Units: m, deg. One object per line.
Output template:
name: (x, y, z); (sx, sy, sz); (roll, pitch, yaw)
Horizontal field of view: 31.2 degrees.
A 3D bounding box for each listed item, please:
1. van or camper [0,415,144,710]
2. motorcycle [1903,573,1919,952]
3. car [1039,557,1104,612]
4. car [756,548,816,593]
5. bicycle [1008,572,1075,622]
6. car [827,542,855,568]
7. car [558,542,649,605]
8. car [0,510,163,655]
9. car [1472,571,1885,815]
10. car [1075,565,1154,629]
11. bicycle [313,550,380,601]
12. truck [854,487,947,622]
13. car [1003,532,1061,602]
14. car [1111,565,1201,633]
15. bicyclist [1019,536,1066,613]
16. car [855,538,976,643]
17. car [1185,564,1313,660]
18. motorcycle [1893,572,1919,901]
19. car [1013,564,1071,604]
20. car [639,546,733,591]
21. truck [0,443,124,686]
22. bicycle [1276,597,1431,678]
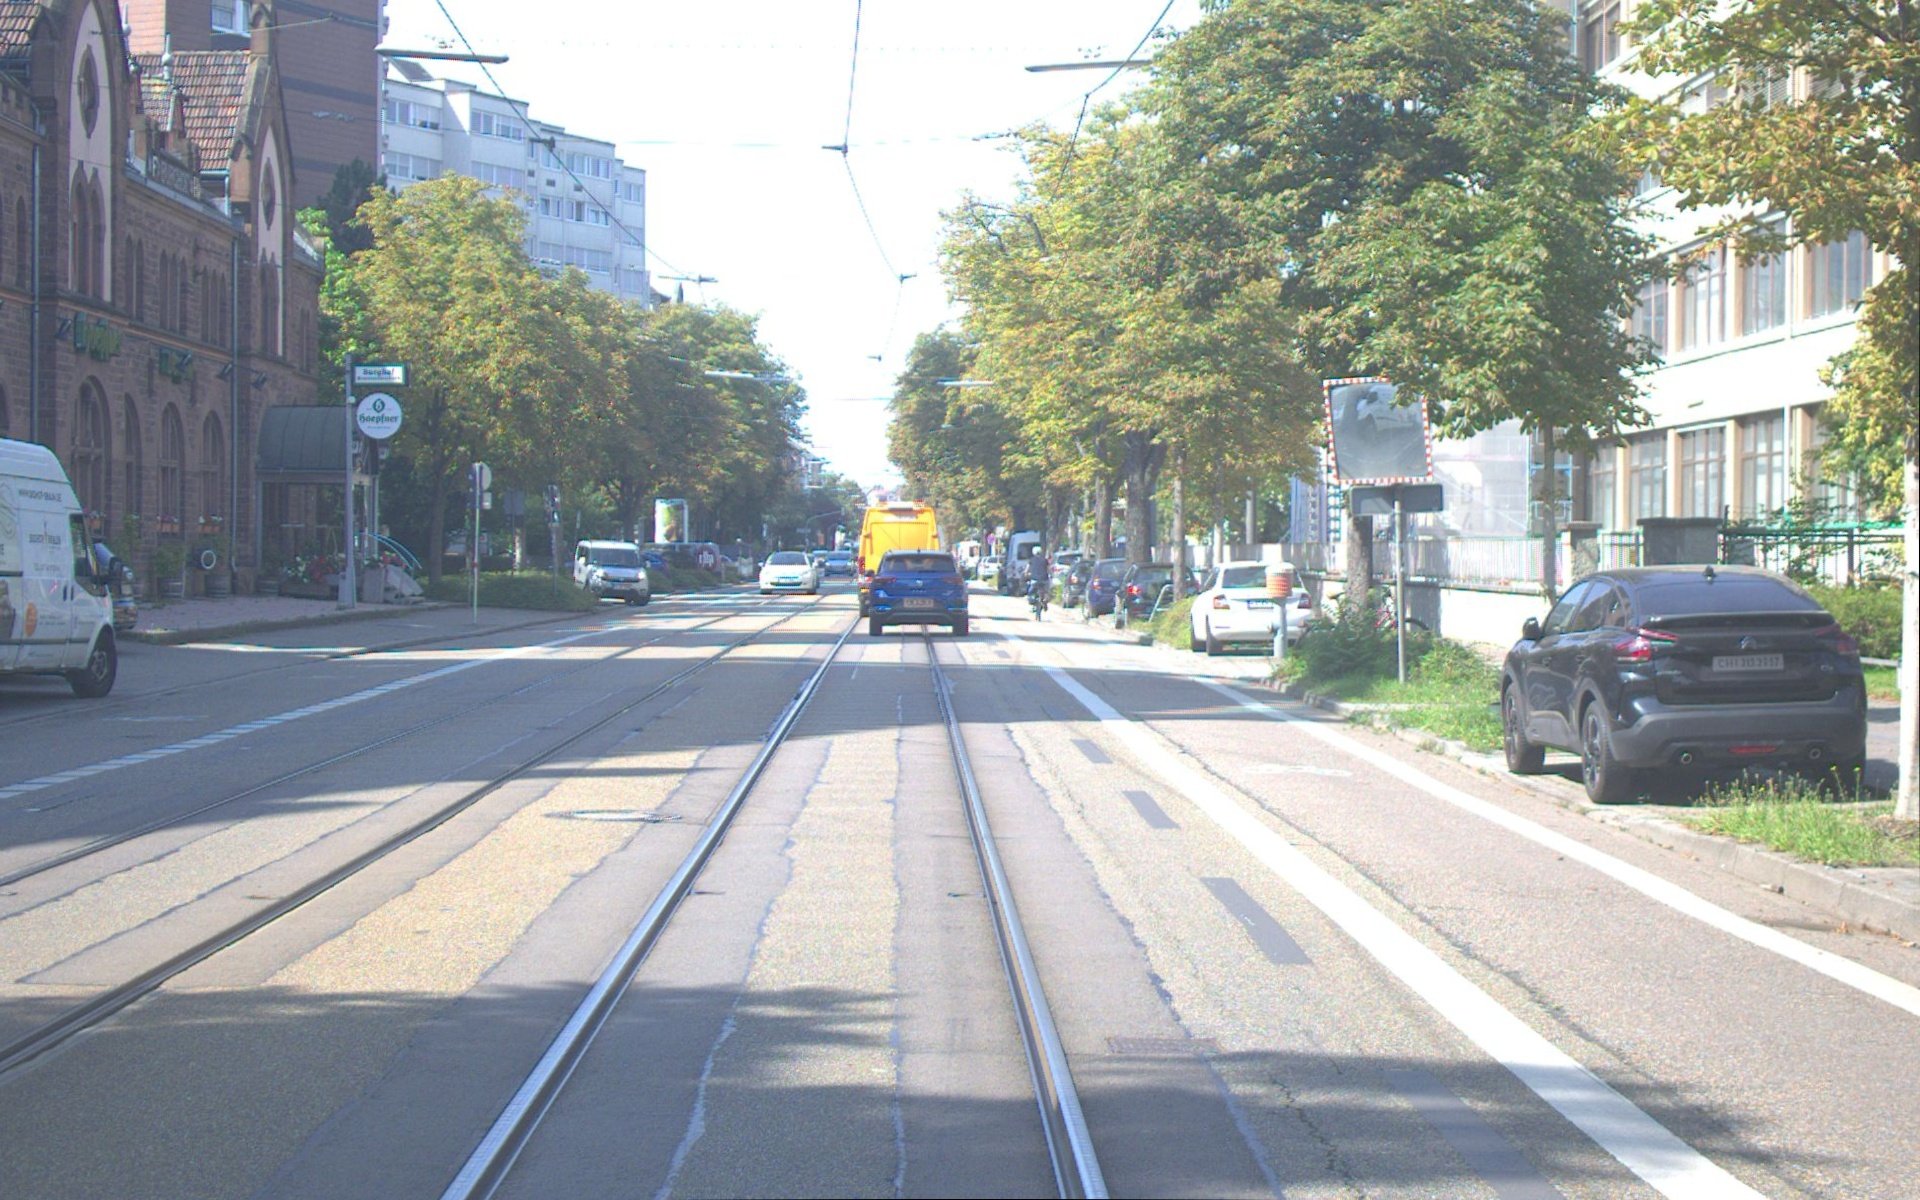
van or camper: (-9.688, -0.384, 33.175); (2.113, 2.666, 5.955); (1, 1, 1)
motorcycle: (5.015, 0.675, 13.332); (2.452, 1.511, 0.851); (2, 1, 38)
car: (3.486, -0.516, 107.995); (1.740, 1.662, 4.362); (1, 1, -2)
car: (-6.026, -1.034, 119.583); (1.847, 1.486, 4.867); (1, 1, 0)
bicycle: (1.915, -0.084, 81.619); (1.401, 1.130, 4.000); (1, 1, -1)
car: (-7.821, -2.940, 226.394); (1.780, 1.678, 4.348); (1, 1, -2)
car: (-10.556, -0.795, 101.598); (1.746, 1.790, 4.001); (1, 1, -20)
car: (-12.777, -0.310, 44.981); (4.136, 1.737, 2.000); (4, 1, 0)
car: (4.881, 0.566, 23.997); (1.755, 1.510, 4.610); (0, 1, -2)
car: (3.790, -0.085, 84.806); (1.743, 1.550, 4.217); (0, 0, 0)
bicycle: (-14.445, -0.573, 80.953); (1.451, 1.089, 0.399); (4, 0, -5)
truck: (-1.405, -1.087, 82.487); (2.135, 3.114, 6.085); (0, 1, -1)
car: (2.890, -1.355, 139.101); (1.993, 2.746, 5.762); (1, 1, -2)
car: (4.148, -0.046, 73.257); (1.659, 1.403, 4.217); (0, 0, 0)
bicyclist: (1.959, -0.609, 81.627); (1.031, 1.806, 1.016); (1, 1, -1)
car: (-0.815, -0.200, 63.155); (2.135, 1.852, 5.568); (0, 1, -1)
car: (4.582, 0.168, 54.877); (1.659, 1.476, 4.217); (0, 0, 0)
motorcycle: (5.256, 0.656, 15.034); (0.850, 1.511, 2.456); (1, 1, -25)
car: (3.046, -0.617, 128.515); (1.908, 1.427, 4.293); (1, 1, -2)
car: (-12.541, -1.441, 157.614); (3.989, 2.007, 1.856); (1, 1, -44)
truck: (-12.740, -0.597, 37.999); (6.321, 2.529, 2.130); (4, 2, 4)
bicycle: (4.814, 0.455, 42.121); (1.812, 0.955, 0.558); (1, 1, -1)
